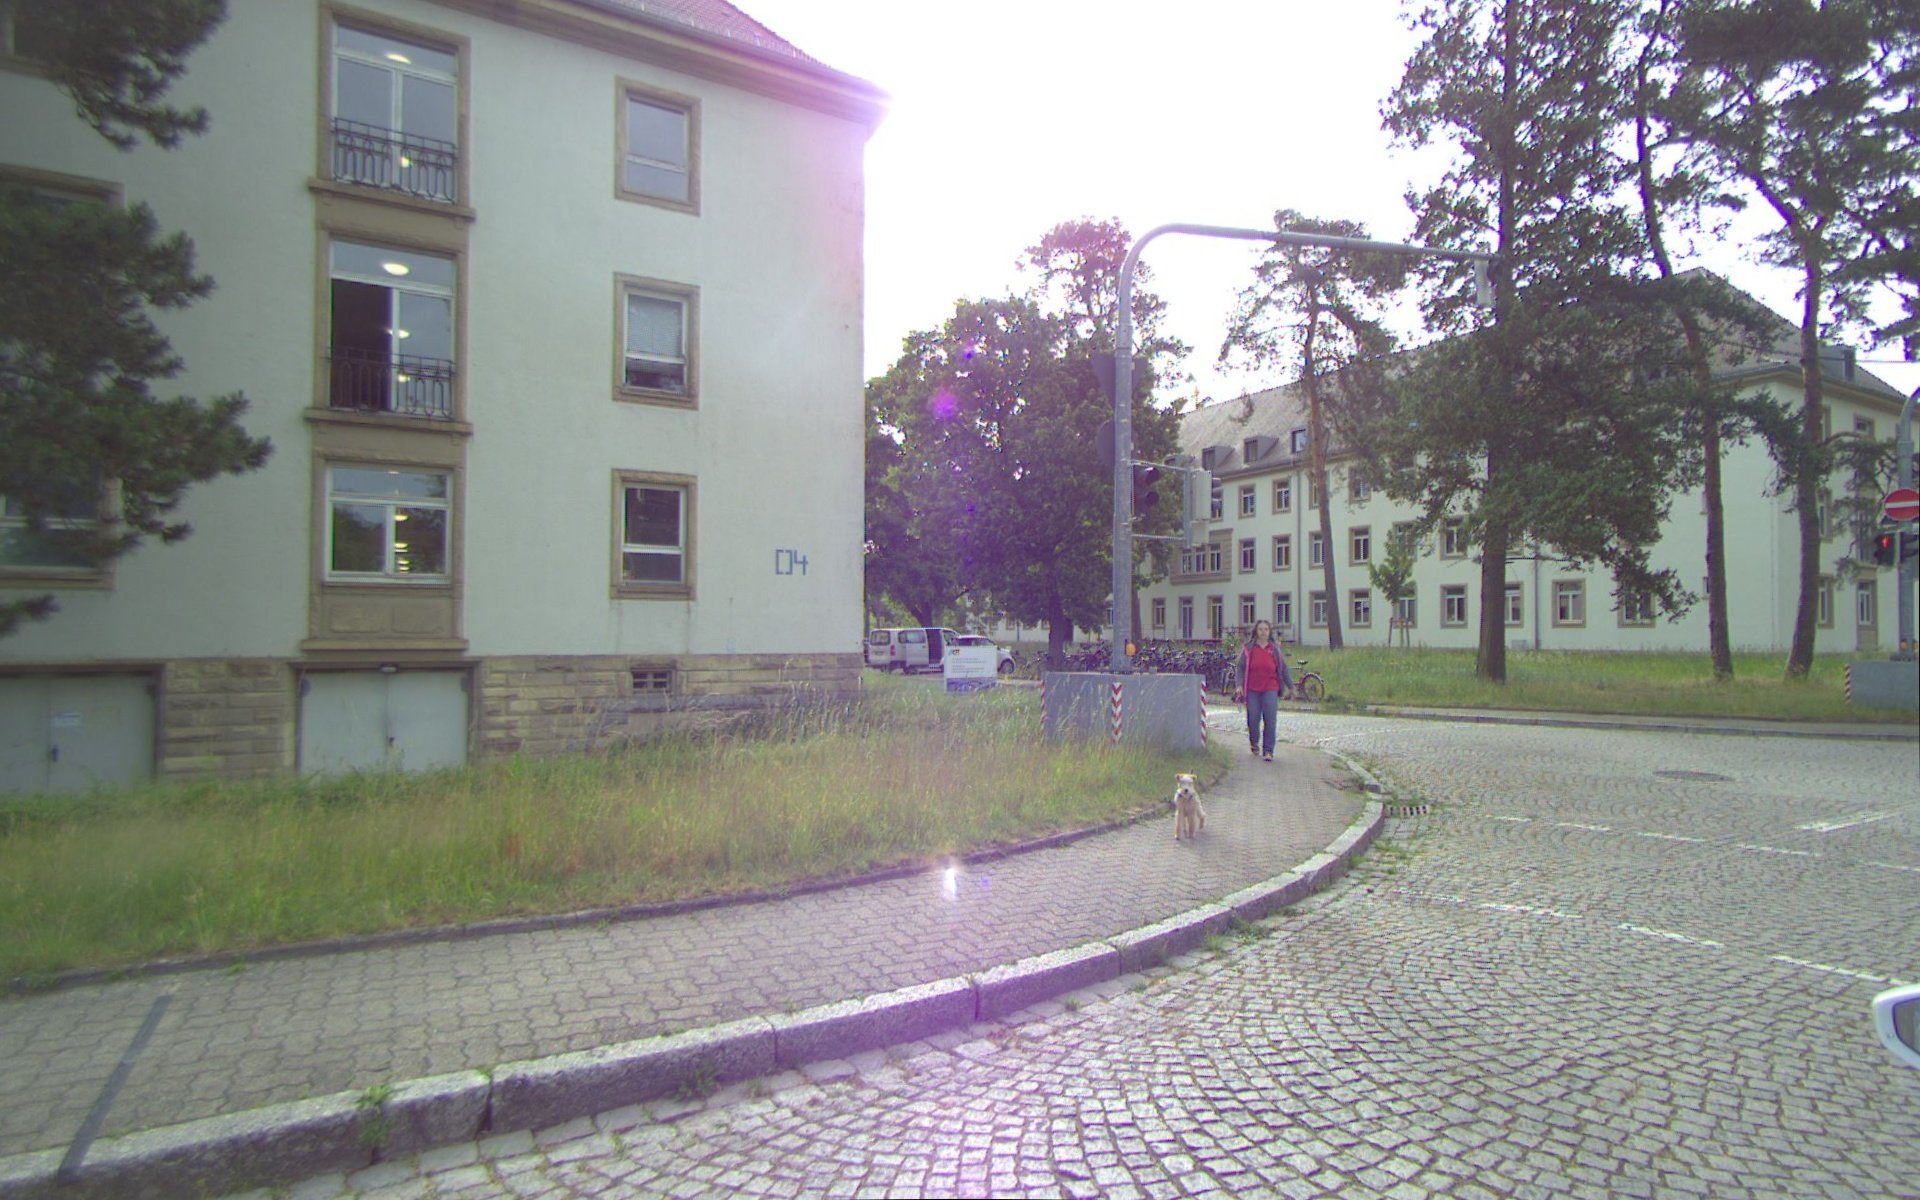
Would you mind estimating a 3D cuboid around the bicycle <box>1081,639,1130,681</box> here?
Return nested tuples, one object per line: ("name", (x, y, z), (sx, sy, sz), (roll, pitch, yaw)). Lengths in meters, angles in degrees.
("bicycle", (4.655, 1.910, 32.127), (1.676, 1.300, 0.447), (1, -2, -31))

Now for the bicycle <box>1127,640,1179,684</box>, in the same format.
("bicycle", (5.821, 1.847, 30.230), (1.676, 1.300, 0.447), (1, -2, -31))

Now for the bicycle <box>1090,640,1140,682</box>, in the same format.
("bicycle", (4.900, 1.908, 31.707), (1.676, 1.300, 0.447), (1, -2, -31))

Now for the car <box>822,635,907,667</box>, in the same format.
("car", (-4.801, 2.555, 50.494), (3.850, 1.534, 1.832), (1, -2, -29))

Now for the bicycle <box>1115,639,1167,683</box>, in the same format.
("bicycle", (5.536, 1.848, 30.659), (1.676, 1.300, 0.447), (1, -2, -31))

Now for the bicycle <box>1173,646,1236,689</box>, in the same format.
("bicycle", (6.899, 1.887, 28.298), (1.908, 1.193, 0.525), (1, -2, -31))

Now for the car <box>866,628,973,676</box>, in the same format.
("car", (-1.687, 2.153, 42.045), (4.086, 1.932, 1.832), (1, -2, -29))

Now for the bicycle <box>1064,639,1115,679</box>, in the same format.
("bicycle", (4.261, 1.918, 32.976), (1.807, 1.300, 0.447), (1, -2, -31))

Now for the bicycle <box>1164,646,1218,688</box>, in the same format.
("bicycle", (6.604, 1.901, 28.717), (1.676, 1.193, 0.447), (1, -2, -31))

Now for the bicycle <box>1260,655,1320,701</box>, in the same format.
("bicycle", (7.804, 1.829, 23.808), (0.447, 1.009, 1.454), (1, -2, -28))

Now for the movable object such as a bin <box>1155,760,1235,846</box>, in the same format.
("movable object such as a bin", (1.793, 1.521, 7.637), (0.436, 0.510, 0.751), (-1, -2, 26))

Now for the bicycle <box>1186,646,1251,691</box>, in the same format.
("bicycle", (7.156, 1.883, 27.773), (1.931, 1.193, 0.572), (1, -2, -31))

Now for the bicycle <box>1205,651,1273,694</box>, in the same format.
("bicycle", (7.557, 1.948, 27.203), (1.973, 1.092, 0.572), (1, -2, -31))

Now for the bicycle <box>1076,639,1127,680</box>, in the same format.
("bicycle", (4.597, 1.919, 32.637), (1.765, 1.300, 0.440), (1, -2, -31))

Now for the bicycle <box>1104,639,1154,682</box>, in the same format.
("bicycle", (5.244, 1.851, 31.140), (1.676, 1.300, 0.447), (1, -2, -31))

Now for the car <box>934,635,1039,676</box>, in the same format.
("car", (1.086, 2.190, 40.343), (3.850, 1.576, 1.832), (1, -2, -29))

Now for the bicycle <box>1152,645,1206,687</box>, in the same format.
("bicycle", (6.352, 1.891, 29.132), (1.676, 1.193, 0.447), (1, -2, -31))

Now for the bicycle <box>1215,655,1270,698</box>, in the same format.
("bicycle", (7.049, 1.898, 25.131), (0.447, 1.009, 1.454), (1, -2, -28))

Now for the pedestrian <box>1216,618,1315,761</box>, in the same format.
("pedestrian", (3.748, 1.082, 12.406), (0.922, 1.690, 0.862), (0, -2, -4))

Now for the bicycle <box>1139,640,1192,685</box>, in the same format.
("bicycle", (6.100, 1.845, 29.810), (1.676, 1.300, 0.447), (1, -2, -31))
